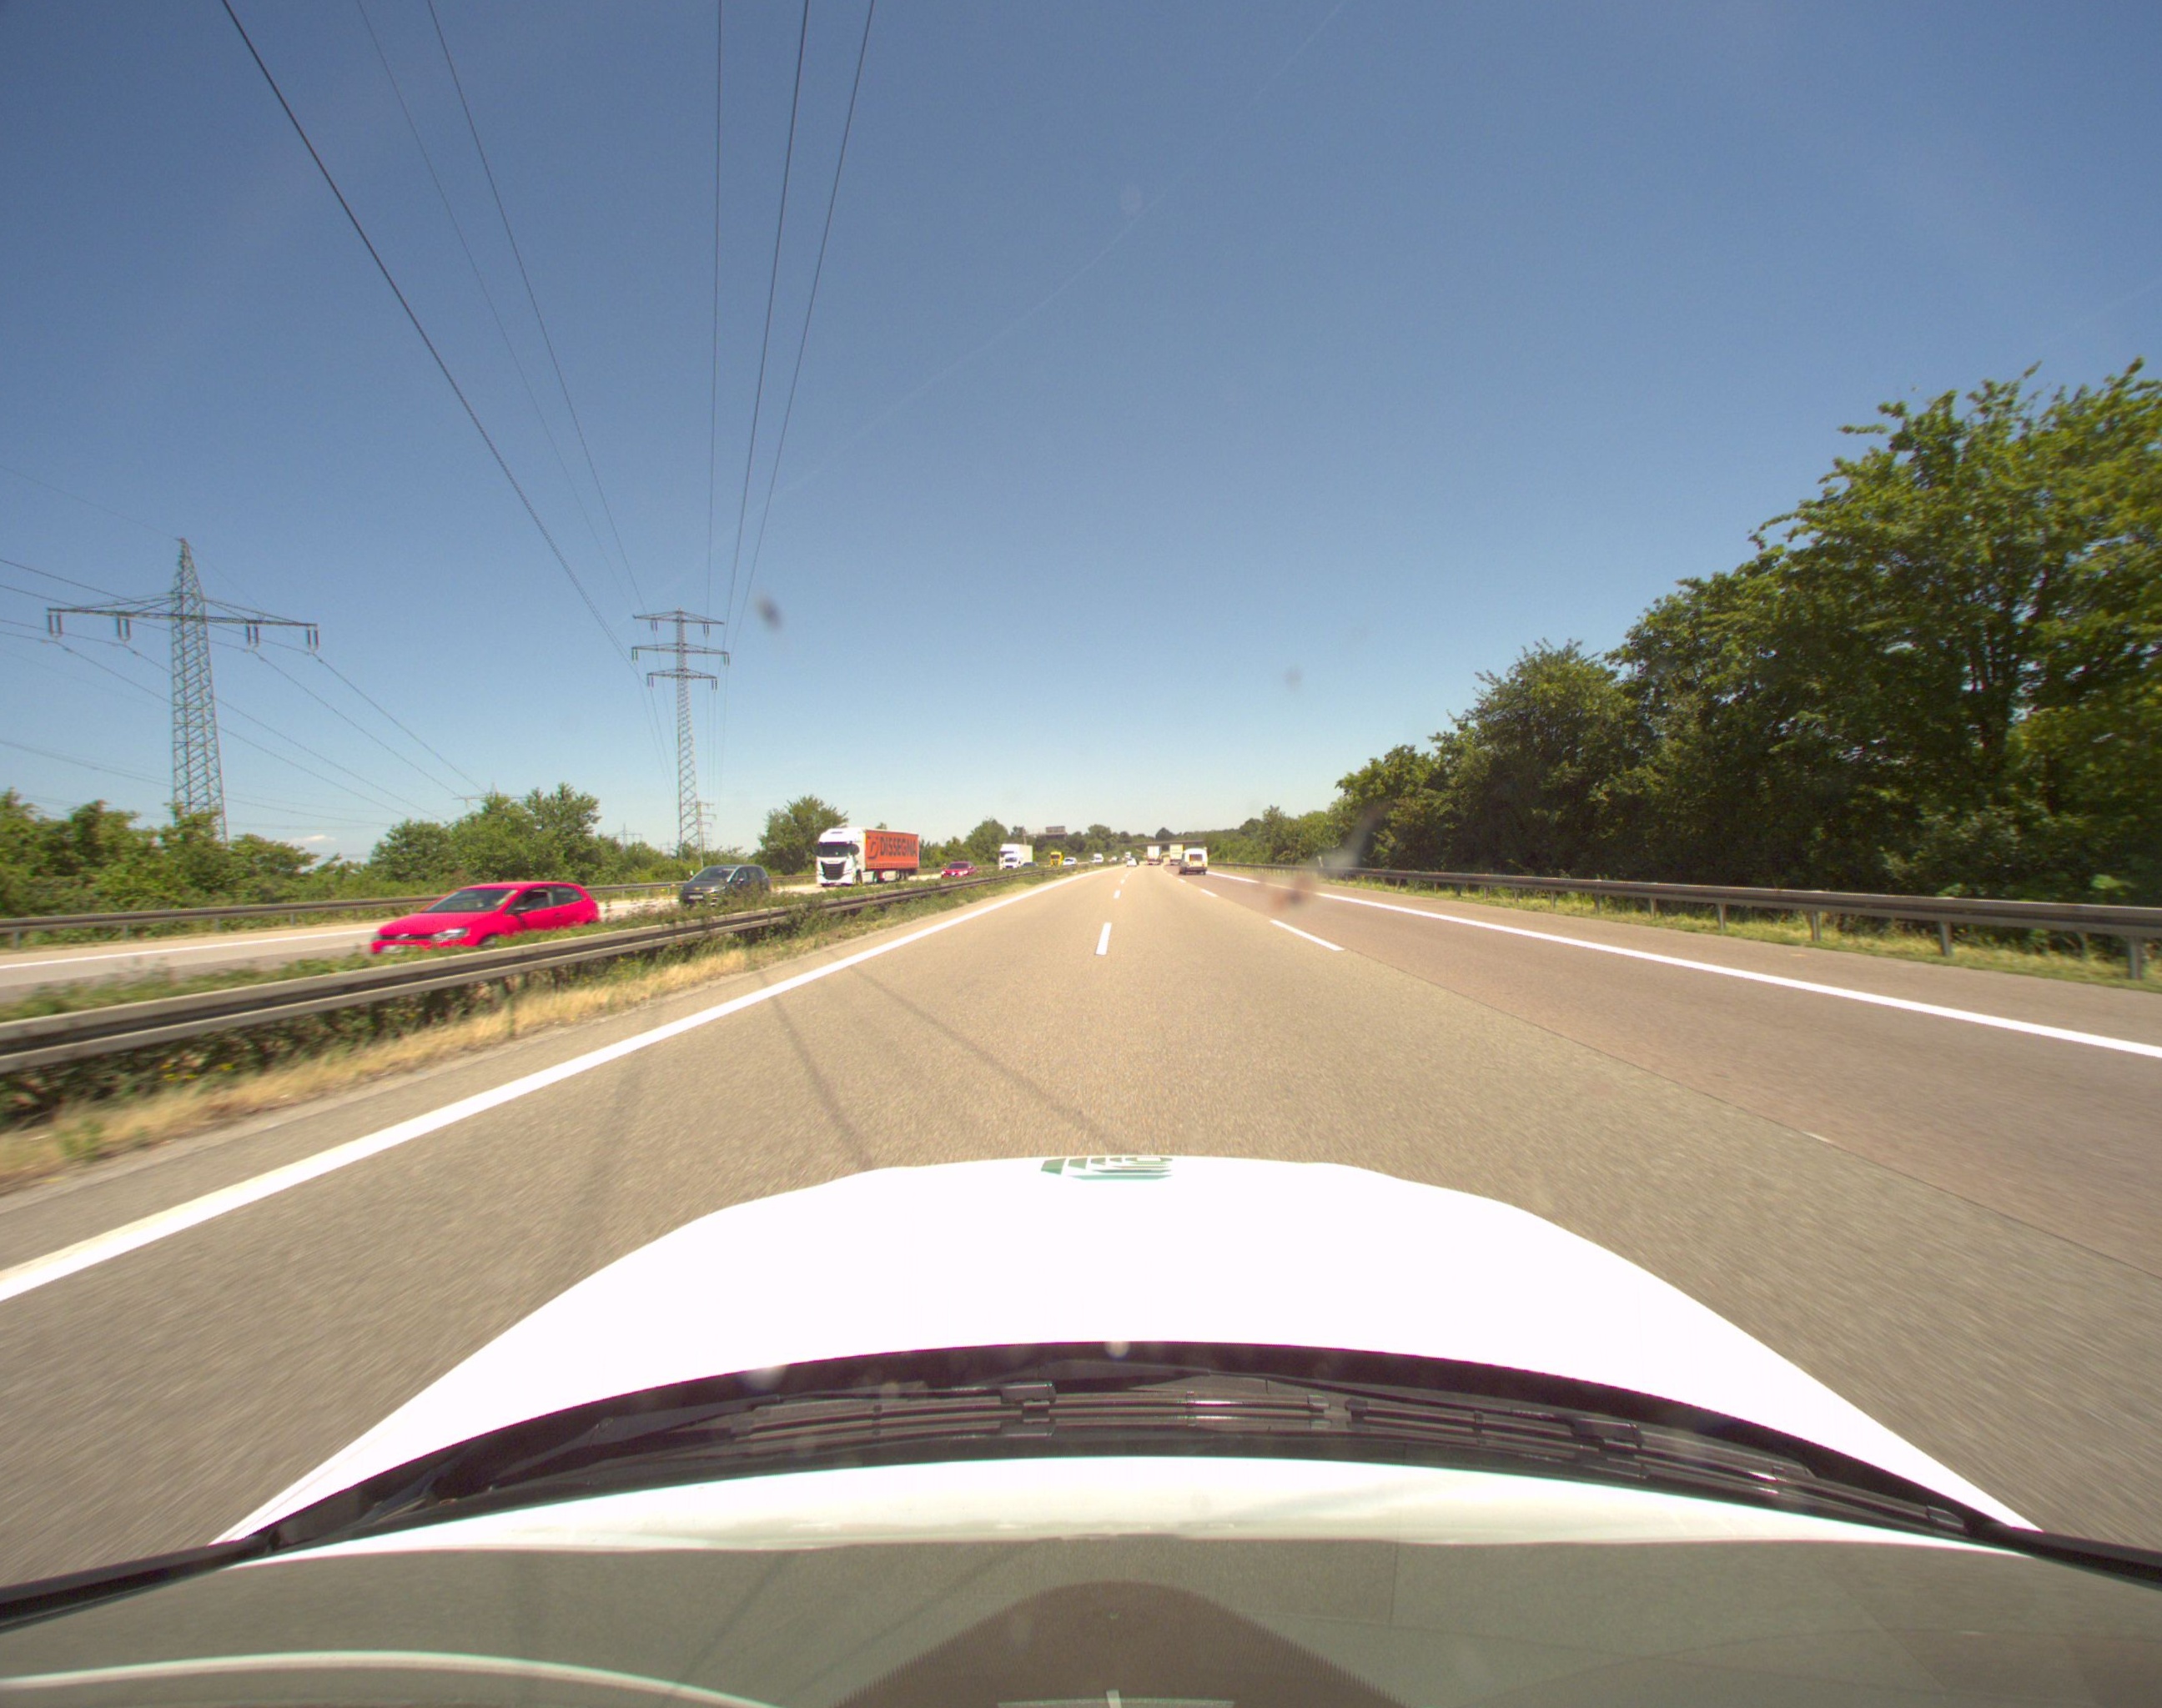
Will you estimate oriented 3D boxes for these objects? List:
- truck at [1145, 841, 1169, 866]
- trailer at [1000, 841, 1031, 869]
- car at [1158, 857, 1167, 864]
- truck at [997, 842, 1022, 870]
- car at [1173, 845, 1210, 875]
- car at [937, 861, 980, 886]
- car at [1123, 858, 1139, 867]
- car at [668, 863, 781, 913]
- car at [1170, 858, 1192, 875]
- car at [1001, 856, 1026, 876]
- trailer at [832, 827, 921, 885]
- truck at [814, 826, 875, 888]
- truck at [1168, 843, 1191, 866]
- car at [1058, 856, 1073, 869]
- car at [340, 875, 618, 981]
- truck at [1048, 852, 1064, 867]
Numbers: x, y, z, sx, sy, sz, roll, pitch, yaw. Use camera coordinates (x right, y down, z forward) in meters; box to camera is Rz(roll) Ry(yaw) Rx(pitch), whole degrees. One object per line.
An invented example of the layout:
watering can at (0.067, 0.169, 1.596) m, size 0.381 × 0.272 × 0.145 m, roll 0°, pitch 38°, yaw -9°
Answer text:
truck at (16.510, -0.191, 175.655) m, size 3.643 × 5.018 × 16.067 m, roll -1°, pitch 1°, yaw 11°
trailer at (-10.332, 0.215, 130.331) m, size 2.822 × 4.258 × 13.650 m, roll -1°, pitch 0°, yaw 4°
car at (21.525, 1.694, 215.045) m, size 1.814 × 1.547 × 4.337 m, roll -1°, pitch 0°, yaw 15°
truck at (-10.791, 0.271, 123.484) m, size 2.818 × 4.081 × 5.171 m, roll -1°, pitch 0°, yaw 4°
car at (9.326, 0.429, 69.290) m, size 2.434 × 2.321 × 5.322 m, roll -3°, pitch 1°, yaw 0°
car at (-8.163, 1.272, 54.728) m, size 1.986 × 1.549 × 4.450 m, roll -2°, pitch 0°, yaw 2°
car at (8.861, 1.483, 143.746) m, size 1.814 × 1.547 × 4.337 m, roll -1°, pitch 0°, yaw 15°
car at (-13.503, 1.215, 31.262) m, size 1.986 × 1.673 × 4.932 m, roll -2°, pitch 0°, yaw 2°
car at (9.230, 1.141, 75.651) m, size 1.877 × 1.515 × 5.389 m, roll 0°, pitch 0°, yaw 6°
car at (-8.459, 1.463, 102.604) m, size 1.984 × 2.471 × 6.499 m, roll -1°, pitch 0°, yaw 5°
trailer at (-15.669, 0.068, 63.980) m, size 2.495 × 4.042 × 13.603 m, roll -1°, pitch 1°, yaw 4°
truck at (-16.260, 0.164, 56.256) m, size 2.471 × 4.019 × 4.608 m, roll -1°, pitch 1°, yaw 4°
truck at (19.907, -0.064, 164.086) m, size 3.160 × 4.304 × 16.069 m, roll -1°, pitch 1°, yaw 11°
car at (-2.457, 1.278, 131.383) m, size 1.985 × 1.939 × 5.342 m, roll -1°, pitch 1°, yaw 3°
car at (-10.422, 1.193, 14.559) m, size 1.896 × 1.480 × 3.962 m, roll -2°, pitch 0°, yaw 2°
truck at (-5.377, 1.242, 177.964) m, size 2.510 × 3.152 × 9.677 m, roll -1°, pitch 0°, yaw 4°
